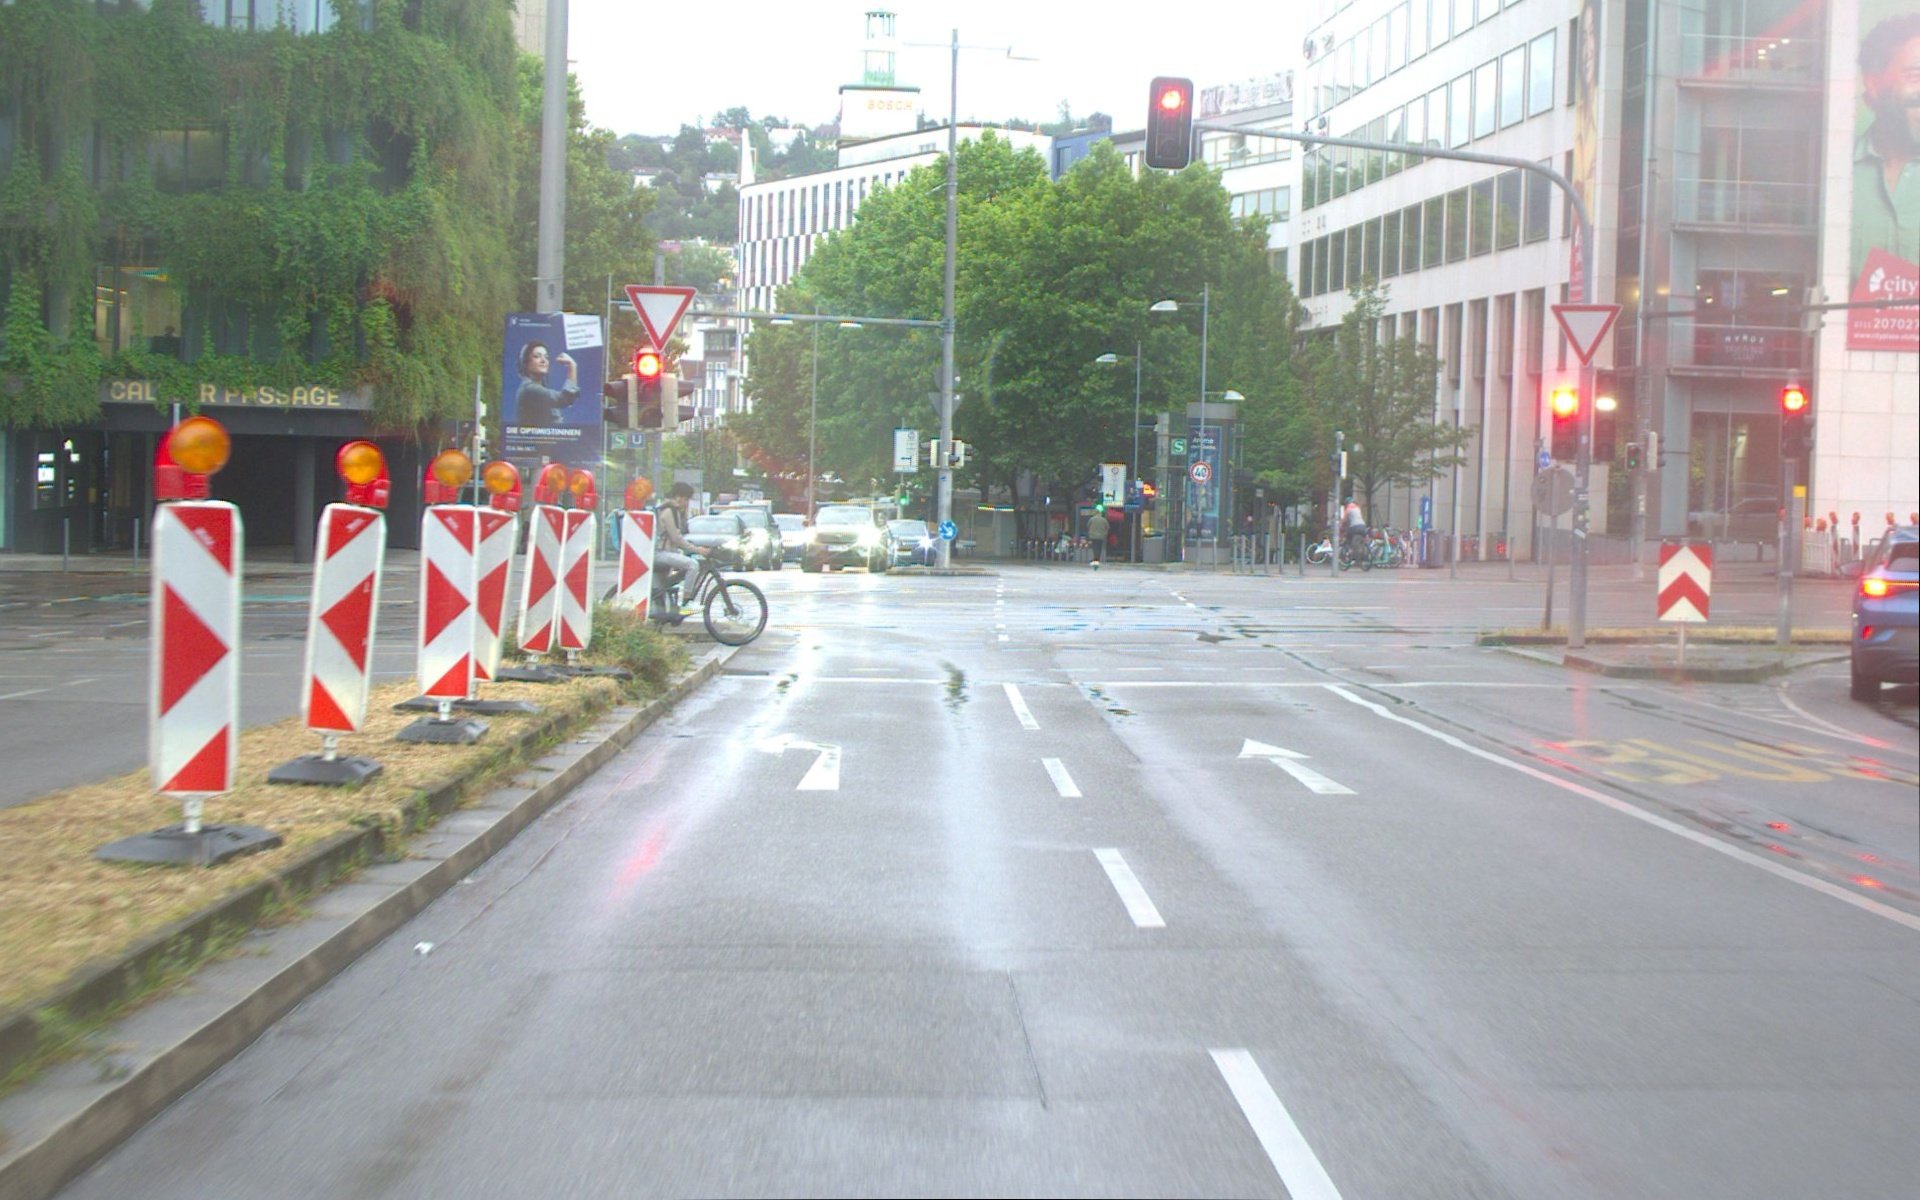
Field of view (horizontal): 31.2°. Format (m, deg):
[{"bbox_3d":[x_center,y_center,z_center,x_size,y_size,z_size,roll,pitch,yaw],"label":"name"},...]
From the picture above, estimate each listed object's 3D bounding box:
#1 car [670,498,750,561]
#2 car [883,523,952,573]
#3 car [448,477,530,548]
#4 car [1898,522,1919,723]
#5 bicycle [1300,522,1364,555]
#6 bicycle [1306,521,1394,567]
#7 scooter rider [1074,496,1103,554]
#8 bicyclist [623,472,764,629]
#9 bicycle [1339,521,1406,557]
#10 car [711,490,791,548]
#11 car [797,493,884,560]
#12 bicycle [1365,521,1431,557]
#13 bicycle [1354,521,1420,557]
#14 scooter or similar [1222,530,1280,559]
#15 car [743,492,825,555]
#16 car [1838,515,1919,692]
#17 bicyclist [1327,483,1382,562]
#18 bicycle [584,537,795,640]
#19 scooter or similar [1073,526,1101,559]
[{"bbox_3d":[-6.259,-1.776,85.648,1.856,1.443,4.622,1,2,-6],"label":"car"},{"bbox_3d":[-1.399,-1.705,111.170,1.993,1.438,4.557,0,3,-4],"label":"car"},{"bbox_3d":[-13.132,-2.457,96.034,1.993,1.888,4.466,1,2,-5],"label":"car"},{"bbox_3d":[8.193,0.227,24.824,1.778,1.534,4.147,1,2,2],"label":"car"},{"bbox_3d":[10.869,-1.804,100.447,1.794,0.931,0.475,1,2,3],"label":"bicycle"},{"bbox_3d":[9.882,-1.422,87.205,0.791,1.113,2.255,0,2,-41],"label":"bicycle"},{"bbox_3d":[3.983,-2.326,106.298,0.762,1.768,0.796,0,1,-7],"label":"scooter rider"},{"bbox_3d":[-2.932,-0.551,37.840,1.294,1.698,0.848,0,2,-28],"label":"bicyclist"},{"bbox_3d":[11.016,-1.632,91.918,1.799,0.931,0.474,2,2,41],"label":"bicycle"},{"bbox_3d":[-5.622,-2.185,92.078,1.856,1.443,4.622,1,2,-7],"label":"car"},{"bbox_3d":[-2.926,-1.796,83.341,1.993,1.545,4.556,1,2,-3],"label":"car"},{"bbox_3d":[11.782,-1.640,92.559,1.799,0.931,0.474,2,2,41],"label":"bicycle"},{"bbox_3d":[11.610,-1.664,93.525,1.799,0.931,0.474,2,2,41],"label":"bicycle"},{"bbox_3d":[9.111,-1.733,107.586,1.745,0.875,0.489,0,1,-19],"label":"scooter or similar"},{"bbox_3d":[-5.297,-2.317,102.968,2.174,1.817,4.645,1,2,-6],"label":"car"},{"bbox_3d":[9.069,-0.010,31.931,1.704,1.524,4.424,1,2,15],"label":"car"},{"bbox_3d":[9.994,-1.972,87.095,0.791,1.968,1.114,0,2,-41],"label":"bicyclist"},{"bbox_3d":[-2.970,-0.132,37.812,2.145,1.099,0.848,0,2,-28],"label":"bicycle"},{"bbox_3d":[3.920,-1.772,106.304,0.556,1.003,1.824,0,1,-7],"label":"scooter or similar"}]
